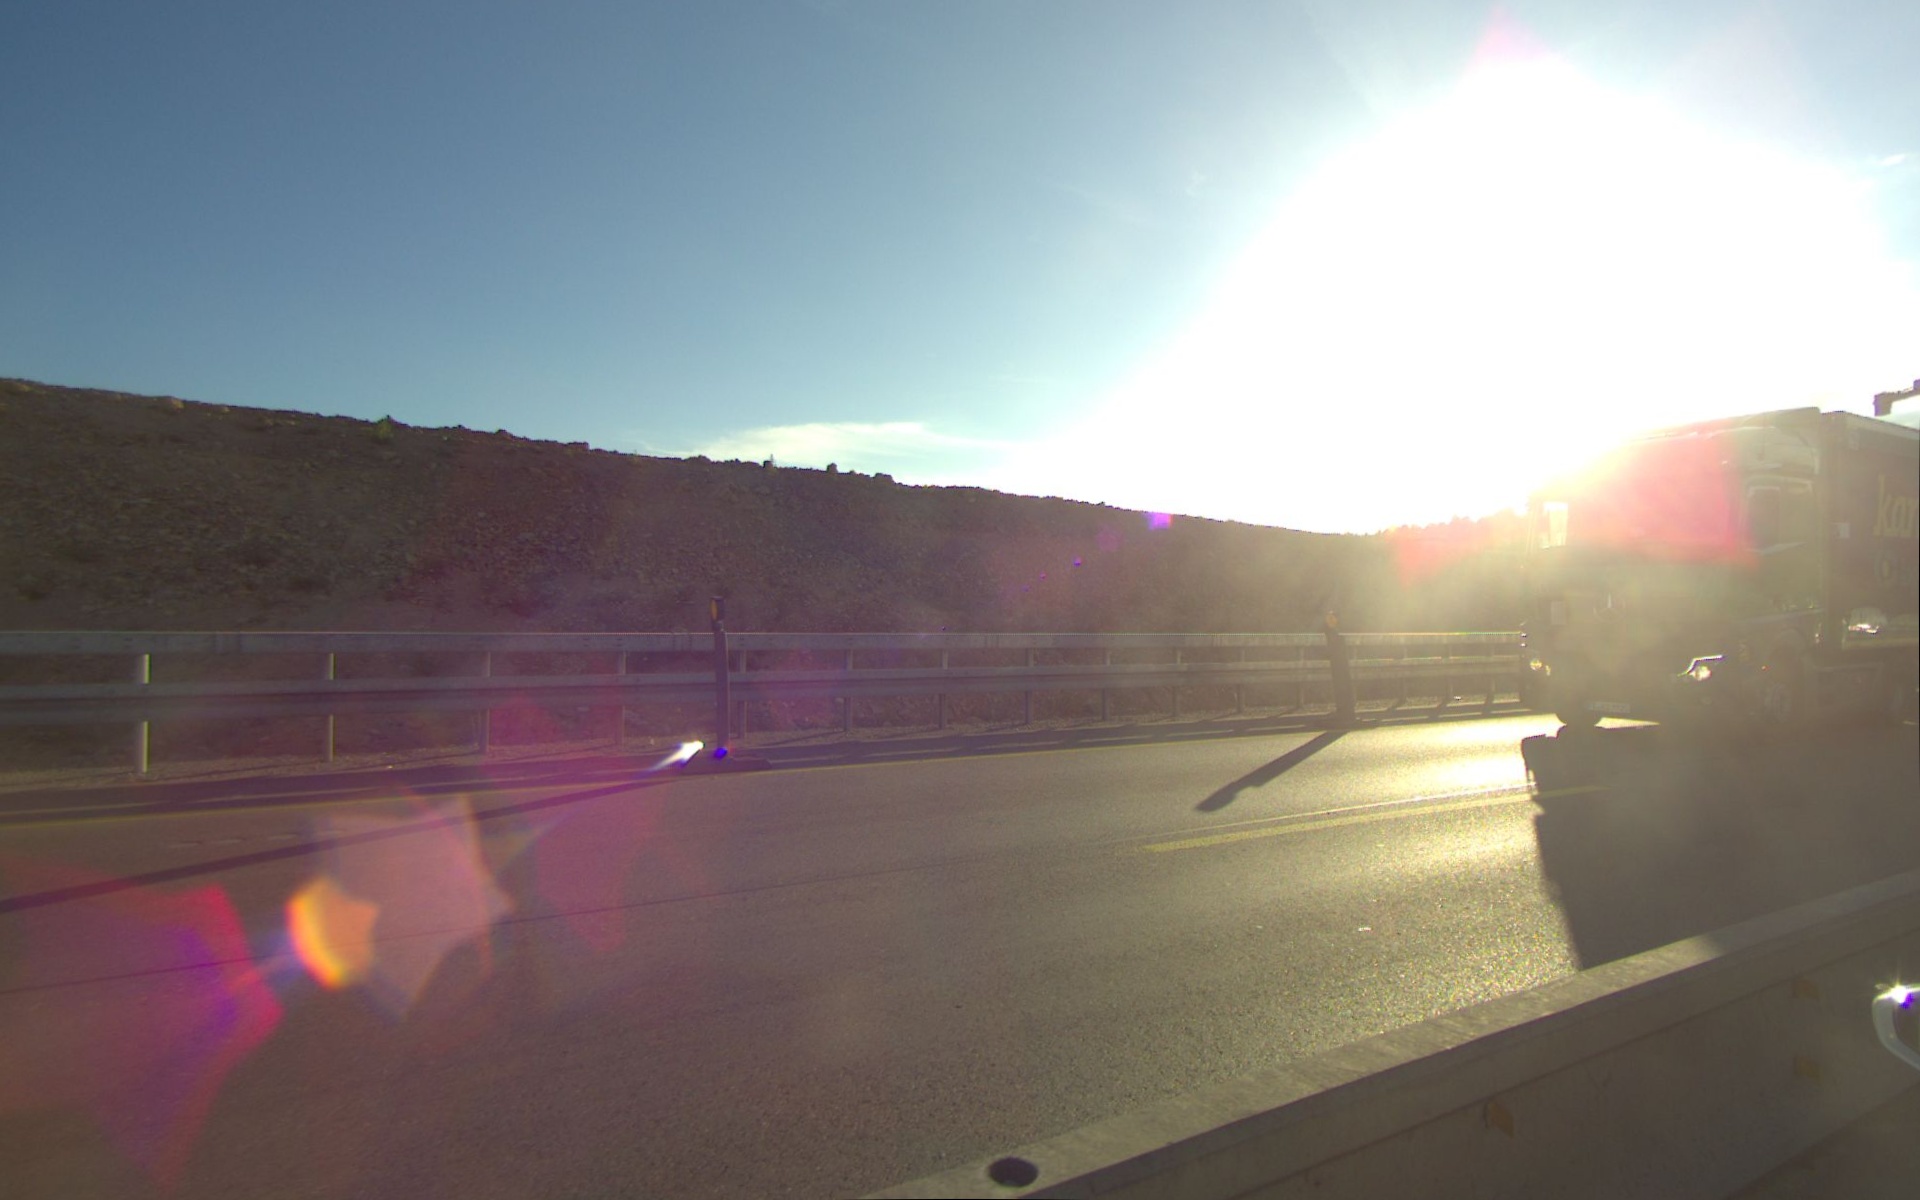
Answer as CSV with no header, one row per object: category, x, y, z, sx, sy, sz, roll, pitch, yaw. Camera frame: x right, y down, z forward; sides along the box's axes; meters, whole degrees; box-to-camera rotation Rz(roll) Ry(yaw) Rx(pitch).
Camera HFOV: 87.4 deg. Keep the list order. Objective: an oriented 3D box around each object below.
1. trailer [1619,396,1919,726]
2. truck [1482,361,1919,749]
trailer,16.231,-0.415,17.159,13.526,4.085,2.759,1,1,-31
truck,9.992,-0.463,13.351,5.708,4.136,2.756,1,1,-30
